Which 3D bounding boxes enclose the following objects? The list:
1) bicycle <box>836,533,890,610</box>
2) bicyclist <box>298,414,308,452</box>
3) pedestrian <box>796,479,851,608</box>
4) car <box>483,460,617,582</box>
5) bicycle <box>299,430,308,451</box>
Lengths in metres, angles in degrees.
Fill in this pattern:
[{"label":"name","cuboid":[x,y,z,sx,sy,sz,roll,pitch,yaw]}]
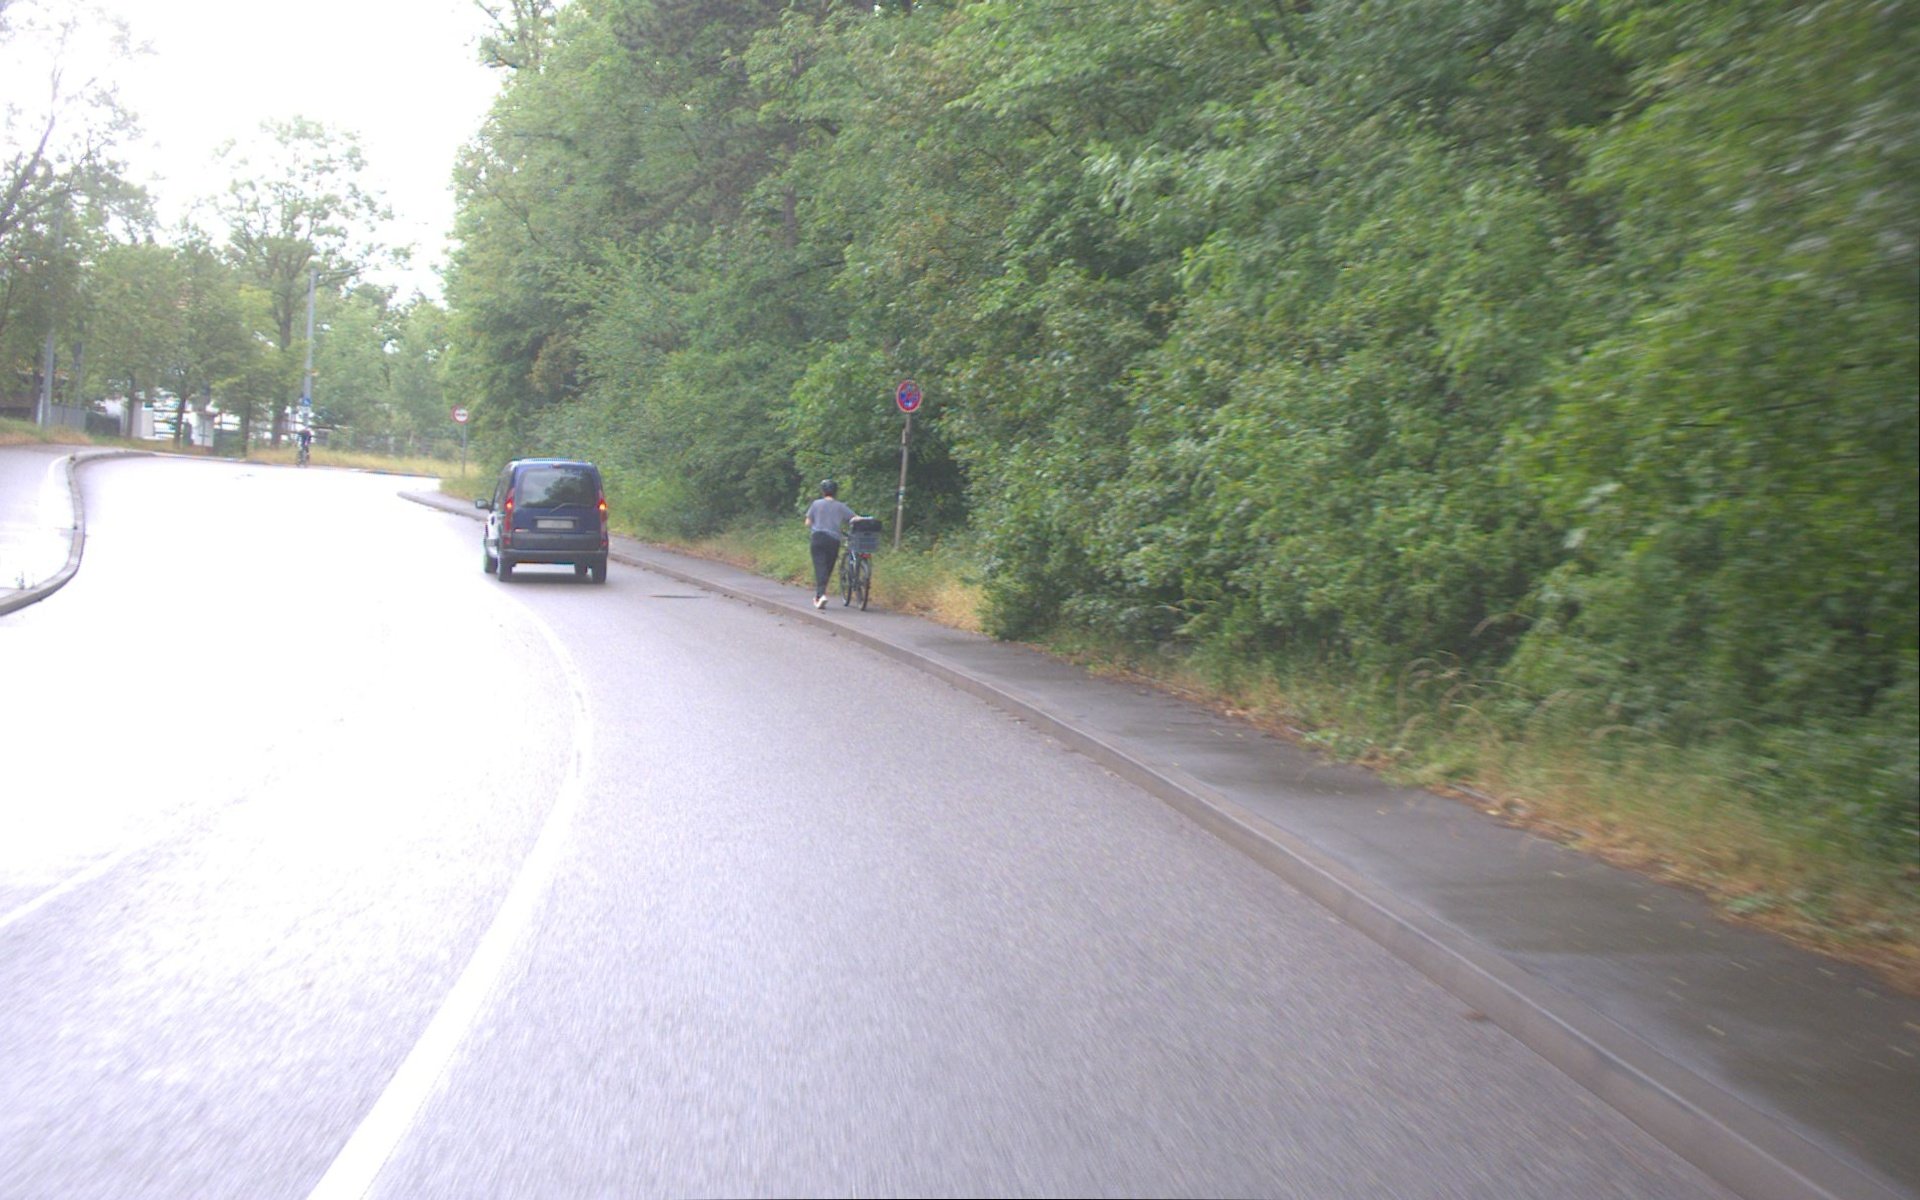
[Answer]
[{"label":"bicycle","cuboid":[-1.201,-0.363,42.300,0.355,0.846,1.744,-2,4,-11]},{"label":"bicyclist","cuboid":[-28.017,-7.134,146.685,0.336,1.568,1.299,3,3,-11]},{"label":"pedestrian","cuboid":[-1.692,-0.696,42.489,0.564,1.571,0.770,0,0,-11]},{"label":"car","cuboid":[-6.330,-1.196,52.769,1.826,1.787,4.001,0,1,-10]},{"label":"bicycle","cuboid":[-28.035,-6.806,146.715,0.355,0.846,2.094,1,4,-11]}]
